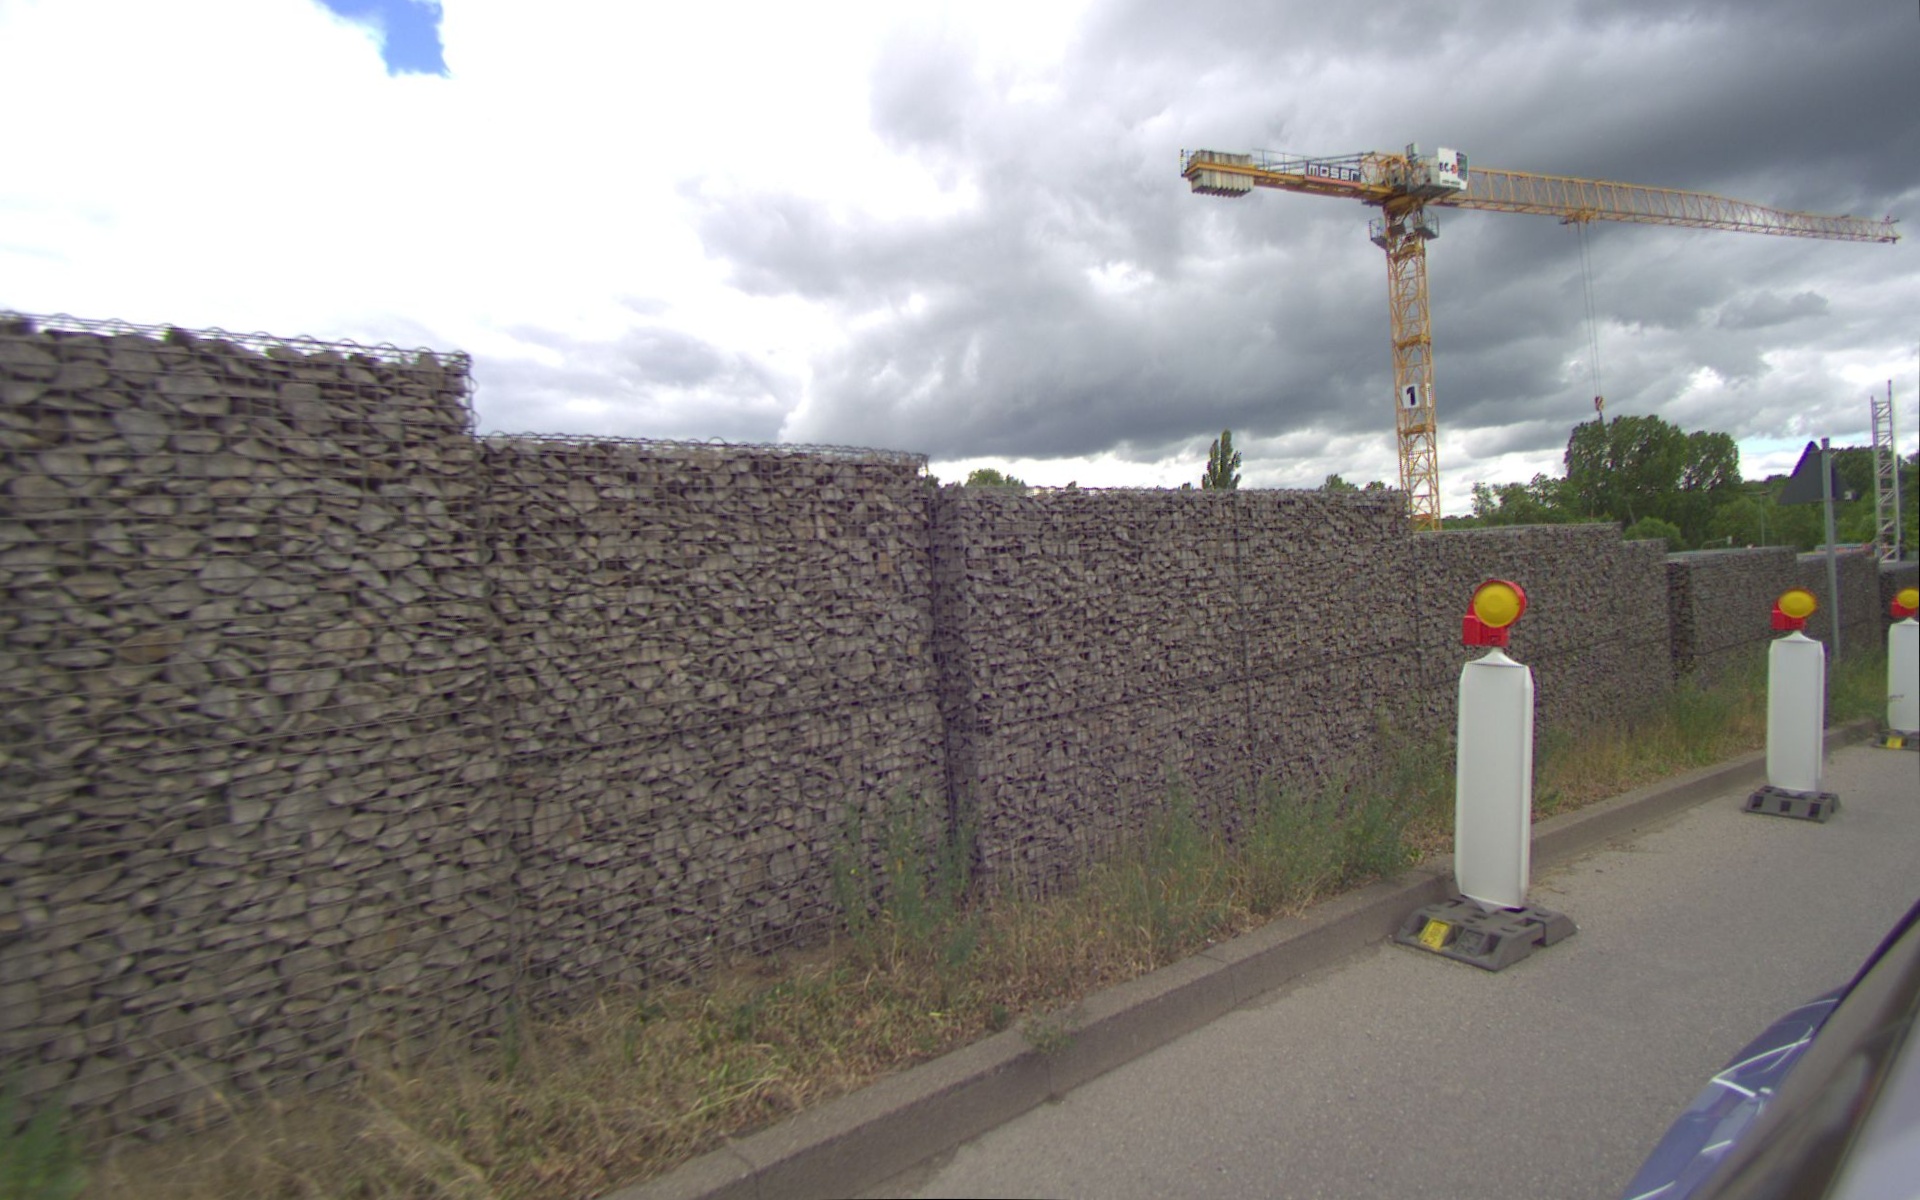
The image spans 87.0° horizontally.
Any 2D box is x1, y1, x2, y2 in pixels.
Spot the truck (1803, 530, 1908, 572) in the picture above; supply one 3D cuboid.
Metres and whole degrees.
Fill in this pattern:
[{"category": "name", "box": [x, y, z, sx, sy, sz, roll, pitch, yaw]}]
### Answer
[{"category": "truck", "box": [97.441, -5.243, 110.381, 2.988, 3.946, 9.989, -4, 0, 5]}]
